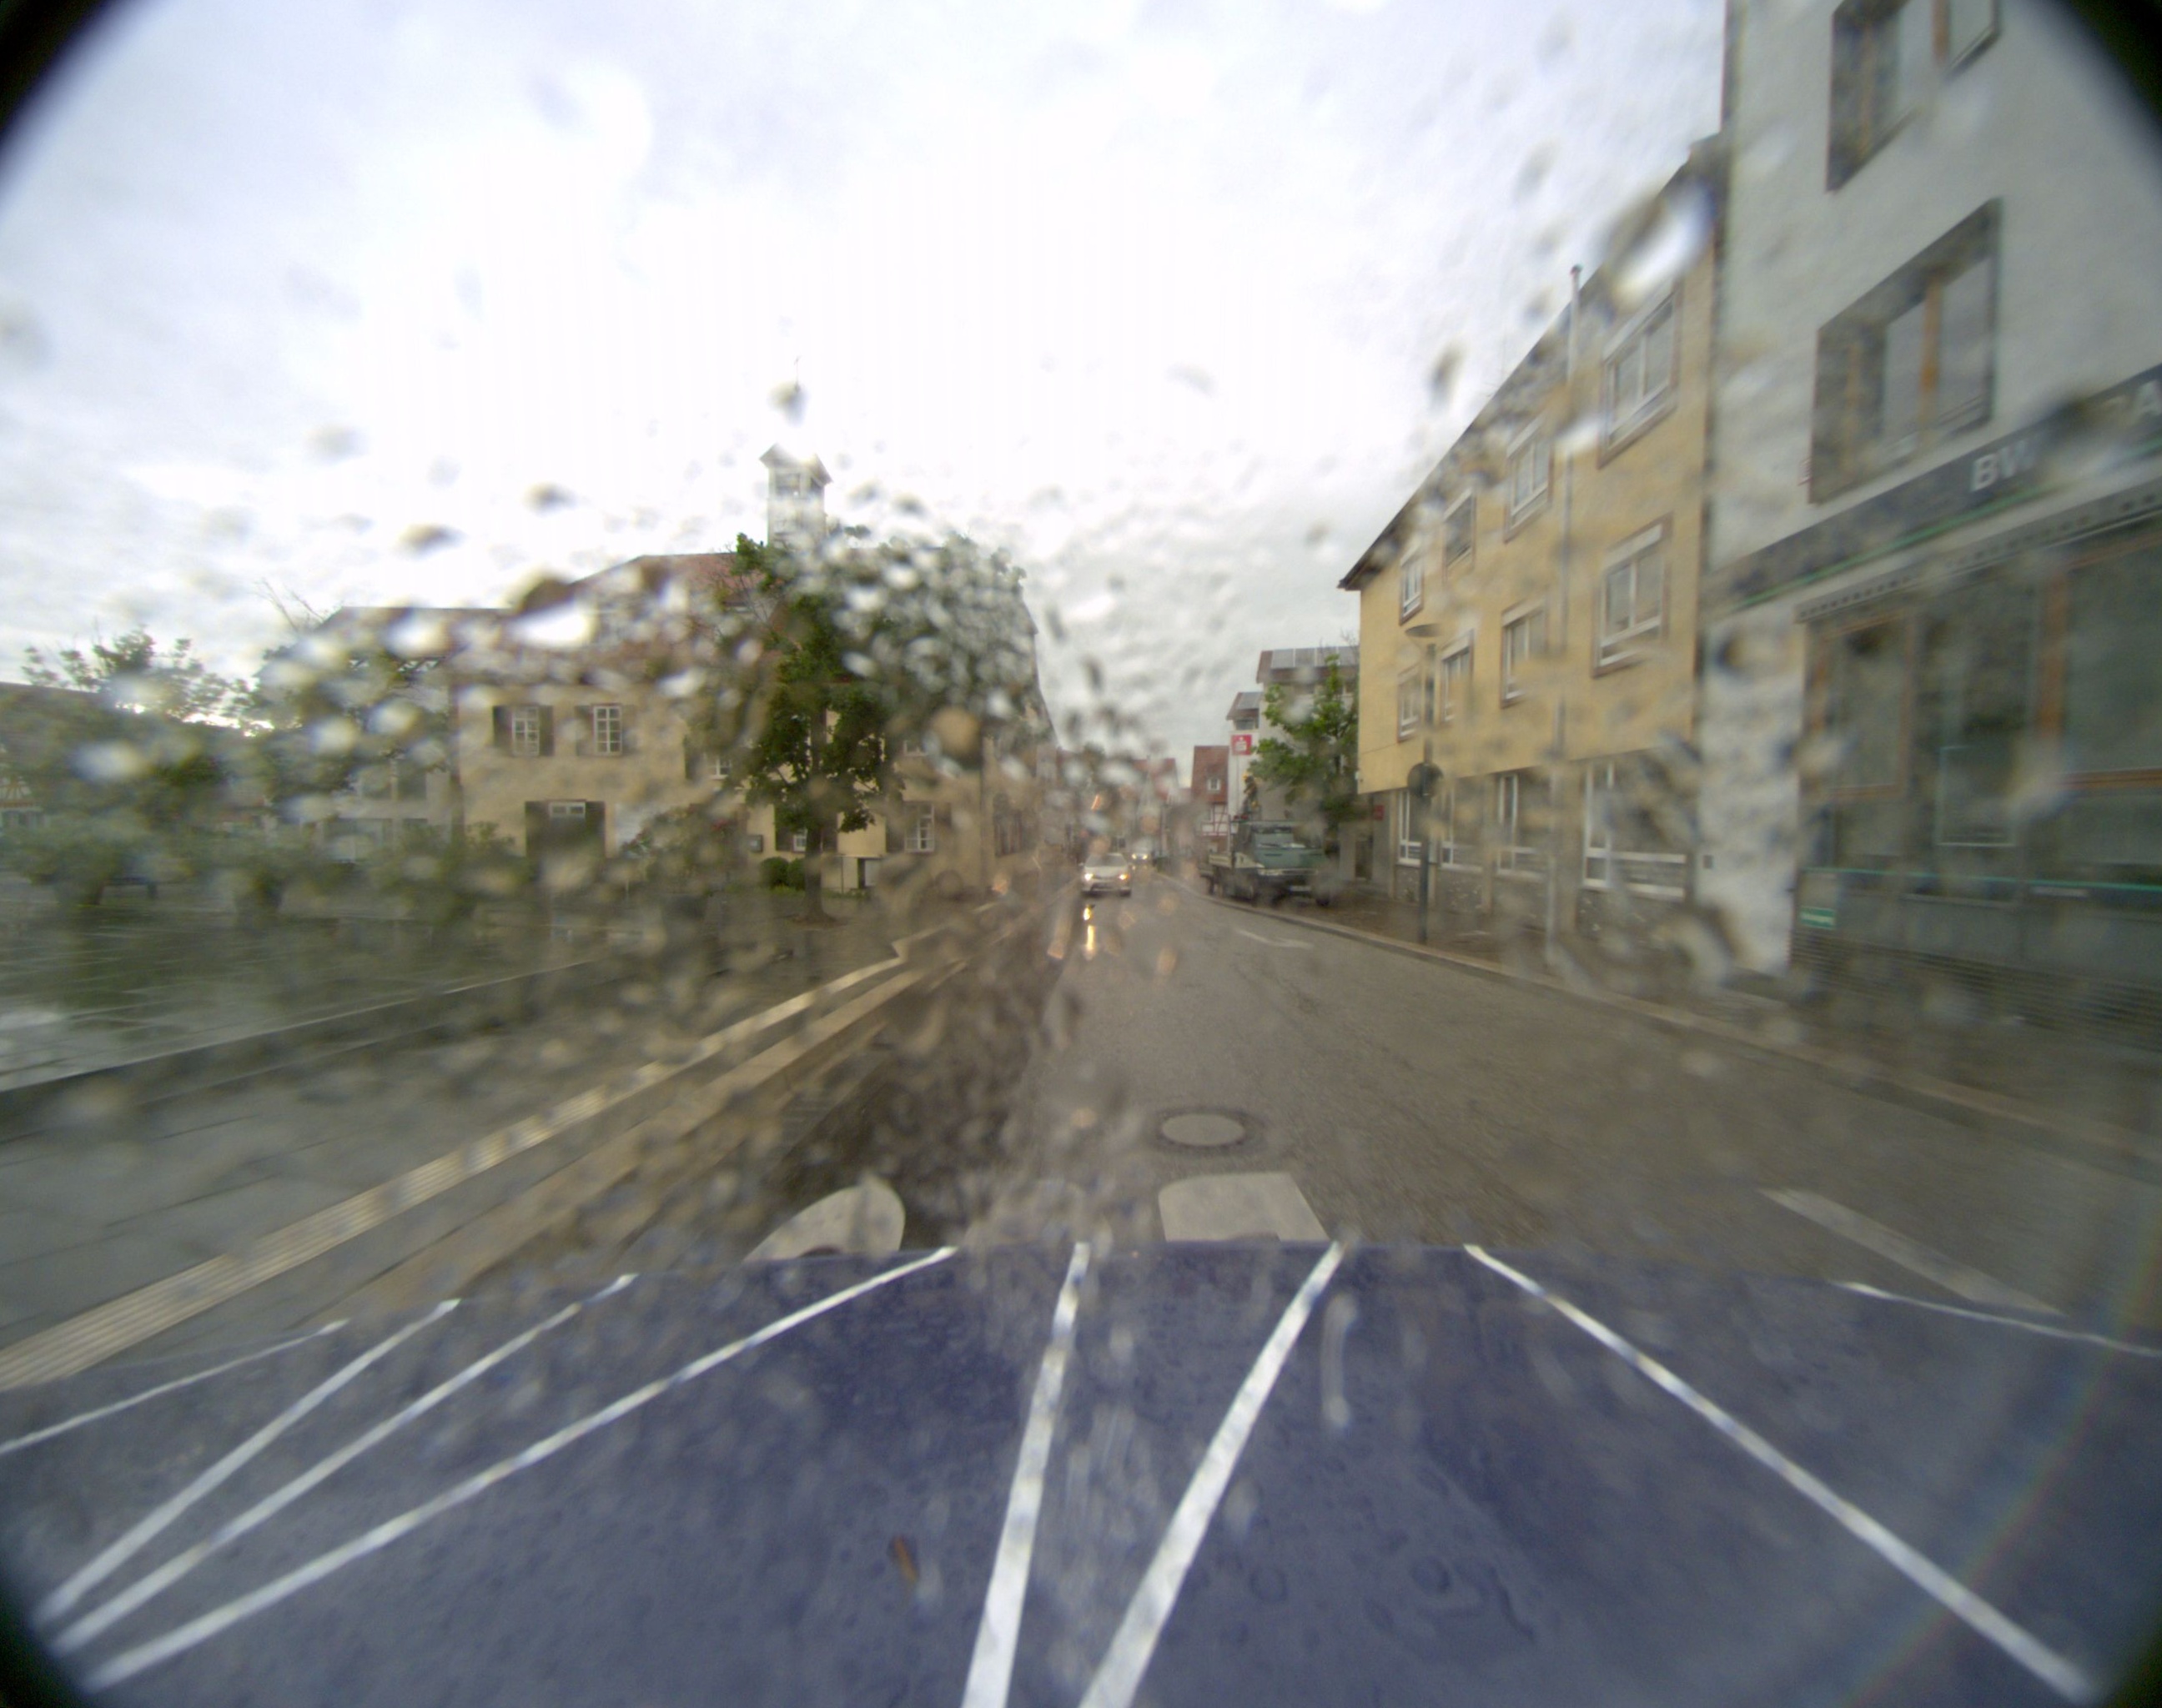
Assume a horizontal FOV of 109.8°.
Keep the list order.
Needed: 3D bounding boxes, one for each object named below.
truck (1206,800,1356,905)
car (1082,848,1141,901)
[{"bbox_3d":[5.446,0.033,21.869,2.406,2.579,6.482,0,-1,-2],"label":"truck"},{"bbox_3d":[1.077,0.640,26.889,1.867,1.577,4.614,1,2,2],"label":"car"}]
